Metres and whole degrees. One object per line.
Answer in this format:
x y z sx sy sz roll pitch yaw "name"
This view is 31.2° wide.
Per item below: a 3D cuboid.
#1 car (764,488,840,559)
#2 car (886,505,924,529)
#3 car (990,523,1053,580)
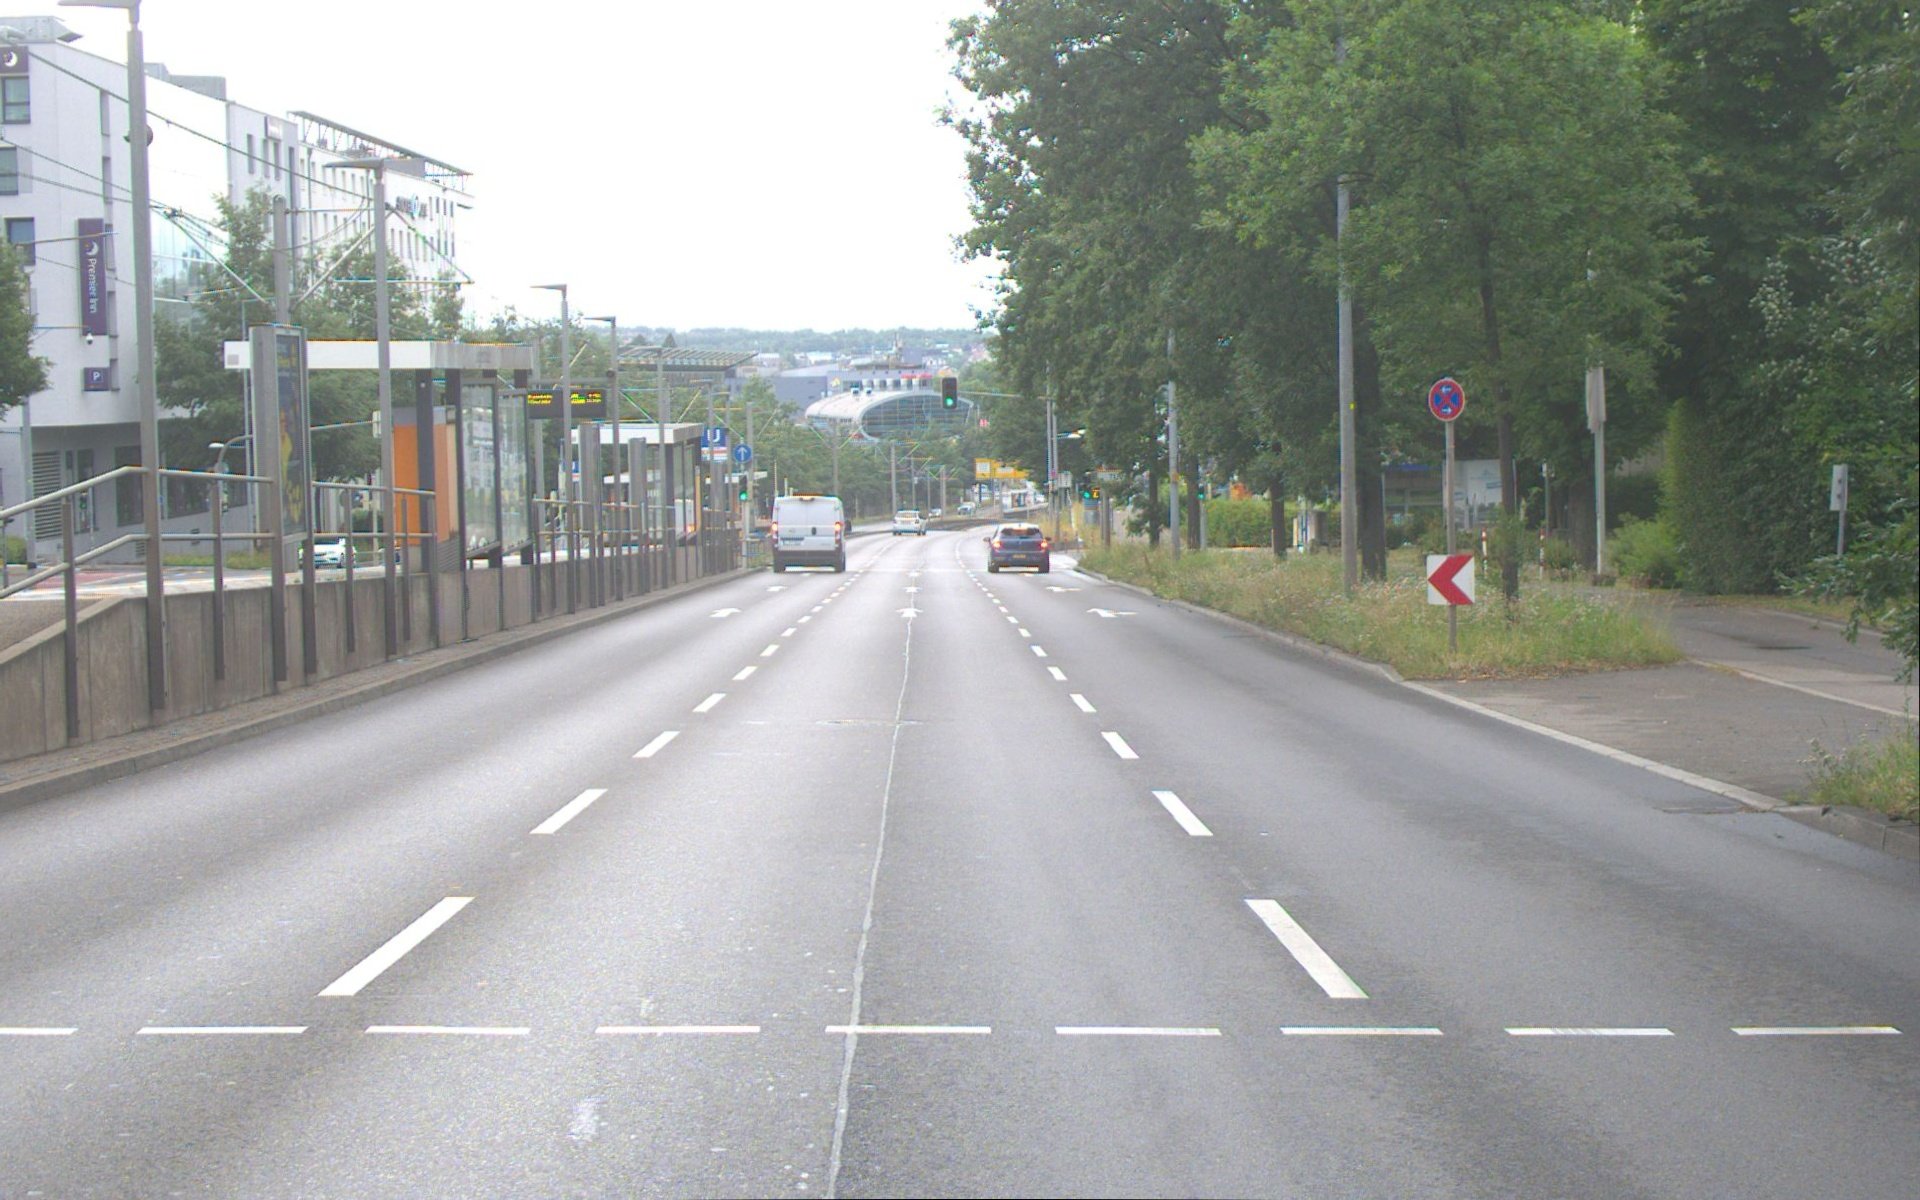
-4.665 -2.272 102.271 2.093 2.047 4.607 0 1 -1 "car"
-3.245 -4.907 203.687 1.783 1.385 3.999 0 1 6 "car"
1.827 -1.465 102.721 1.774 1.685 3.845 0 1 -1 "car"
